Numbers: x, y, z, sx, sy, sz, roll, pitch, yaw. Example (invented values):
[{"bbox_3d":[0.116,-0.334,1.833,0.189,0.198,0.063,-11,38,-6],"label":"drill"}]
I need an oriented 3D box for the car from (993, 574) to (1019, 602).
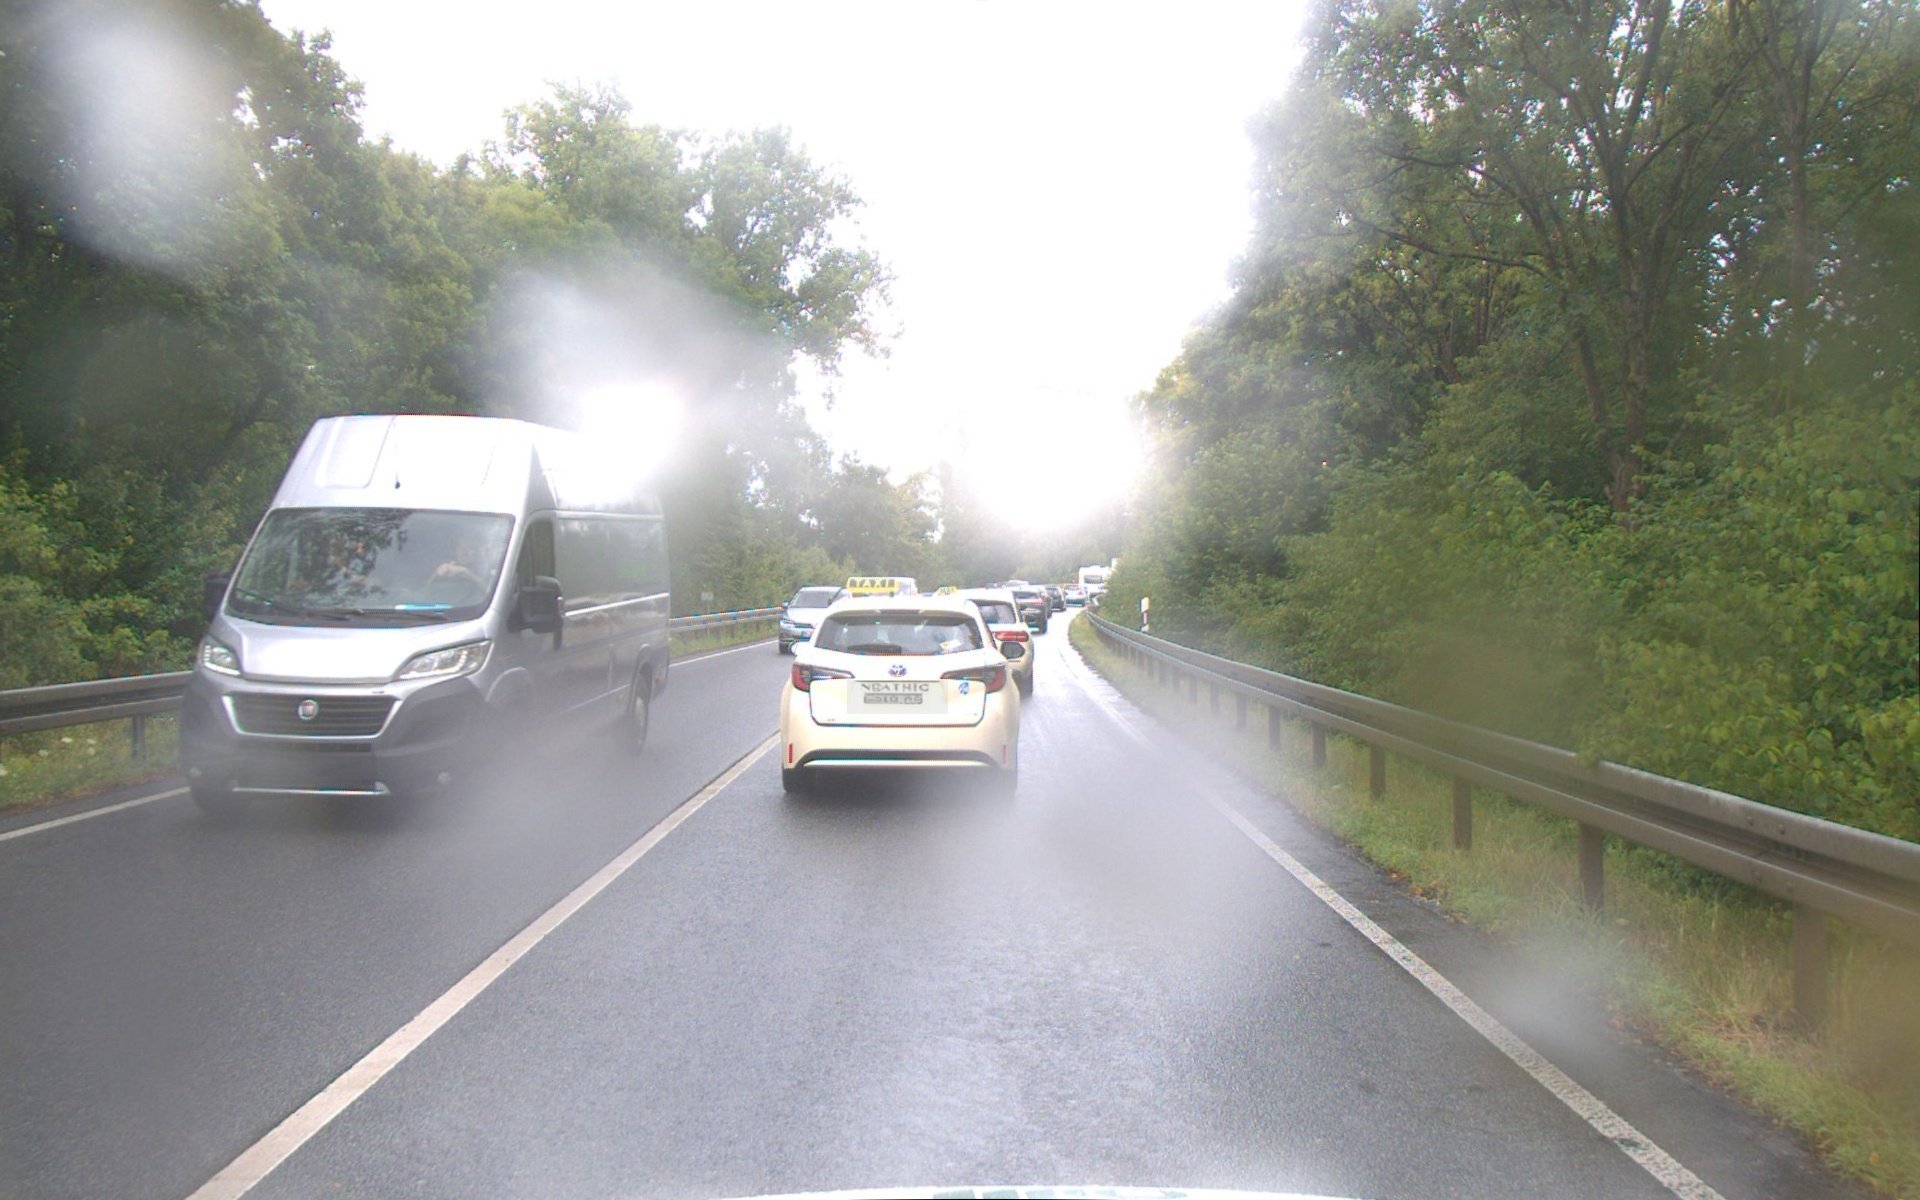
[{"bbox_3d":[3.607,-0.910,128.934,1.952,2.049,4.001,1,0,2],"label":"car"}]

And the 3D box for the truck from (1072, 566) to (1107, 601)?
[{"bbox_3d":[10.579,-1.330,135.686,2.496,2.760,7.537,1,0,2],"label":"truck"}]

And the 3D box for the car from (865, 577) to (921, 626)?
[{"bbox_3d":[-2.389,0.065,60.086,1.777,1.715,4.622,1,0,1],"label":"car"}]

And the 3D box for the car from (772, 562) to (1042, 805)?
[{"bbox_3d":[-0.322,0.574,13.235,1.796,1.608,4.157,1,0,1],"label":"car"}]

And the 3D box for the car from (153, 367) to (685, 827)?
[{"bbox_3d":[-3.728,-0.006,12.915,2.005,2.723,6.172,0,0,1],"label":"car"}]

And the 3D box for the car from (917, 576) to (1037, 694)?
[{"bbox_3d":[0.263,0.496,24.825,1.633,1.608,3.892,1,0,1],"label":"car"}]

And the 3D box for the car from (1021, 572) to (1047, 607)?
[{"bbox_3d":[3.399,-0.461,75.726,1.142,1.574,2.605,1,0,4],"label":"car"}]

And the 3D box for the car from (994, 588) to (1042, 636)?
[{"bbox_3d":[1.966,0.412,55.948,1.577,1.574,3.815,0,-1,2],"label":"car"}]

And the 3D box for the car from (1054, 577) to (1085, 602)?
[{"bbox_3d":[7.420,-0.696,111.912,1.732,1.574,3.817,1,0,8],"label":"car"}]

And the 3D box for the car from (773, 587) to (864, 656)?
[{"bbox_3d":[-3.172,0.473,37.716,1.693,1.456,3.849,1,0,0],"label":"car"}]

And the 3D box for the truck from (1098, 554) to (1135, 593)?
[{"bbox_3d":[15.671,-2.612,165.353,3.041,3.745,7.006,1,0,11],"label":"truck"}]

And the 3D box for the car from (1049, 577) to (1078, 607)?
[{"bbox_3d":[5.791,-0.426,93.125,1.582,1.641,3.623,1,0,3],"label":"car"}]

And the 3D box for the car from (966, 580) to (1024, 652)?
[{"bbox_3d":[0.798,0.364,38.355,1.274,1.574,3.260,1,0,0],"label":"car"}]
